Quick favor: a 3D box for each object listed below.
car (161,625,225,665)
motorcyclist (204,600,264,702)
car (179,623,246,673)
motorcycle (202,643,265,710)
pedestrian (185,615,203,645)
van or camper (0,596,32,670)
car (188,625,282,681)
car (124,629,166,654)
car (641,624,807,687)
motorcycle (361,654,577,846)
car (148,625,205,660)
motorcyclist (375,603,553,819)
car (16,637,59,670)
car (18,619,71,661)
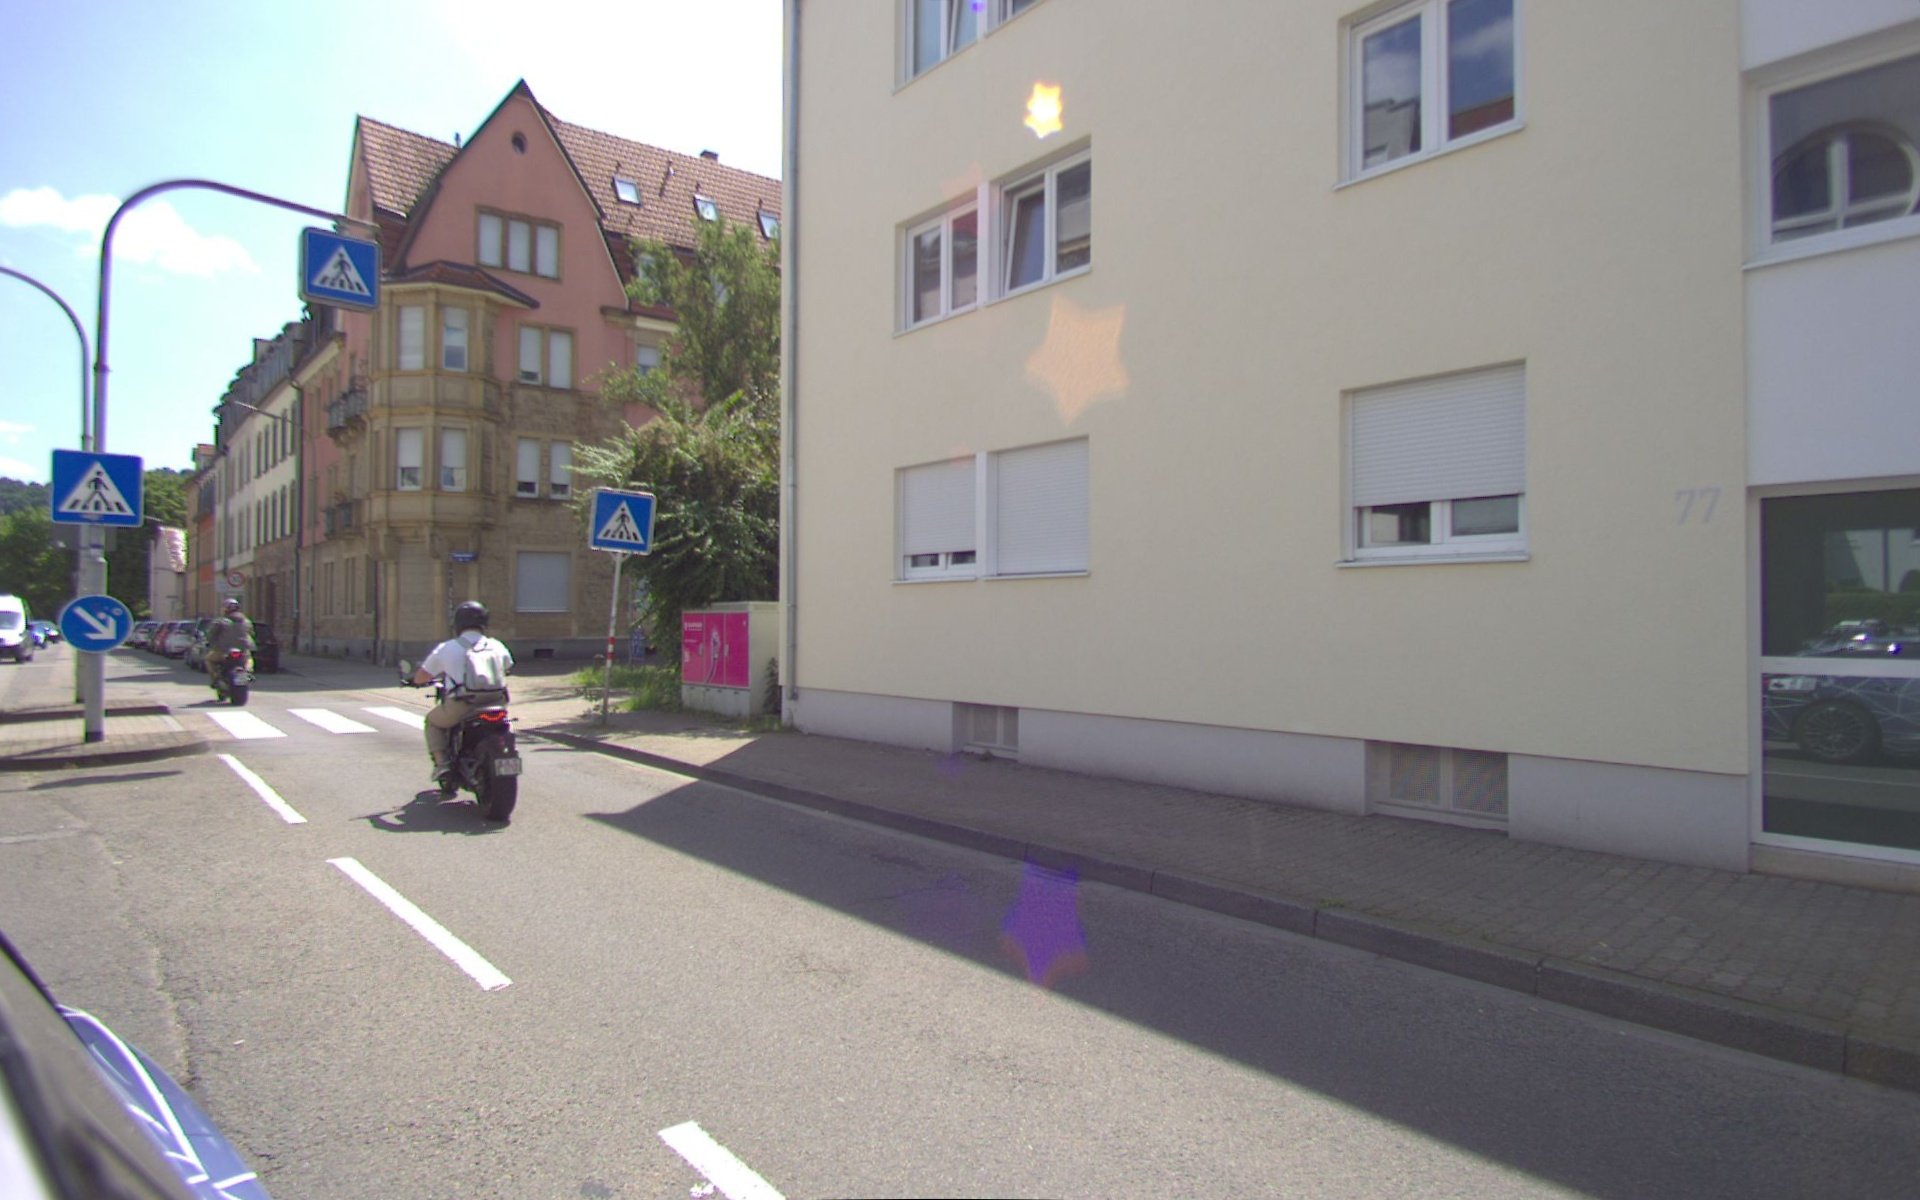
[{"bbox_3d":[-29.830,1.727,39.323,1.614,1.442,4.023,4,-4,-41],"label":"car"},{"bbox_3d":[-12.213,0.845,17.023,0.704,1.647,1.070,3,-3,-39],"label":"motorcyclist"},{"bbox_3d":[-24.038,1.515,32.526,1.419,1.534,2.699,2,-2,-42],"label":"car"},{"bbox_3d":[-12.243,1.257,17.026,0.704,1.036,2.243,3,-3,-39],"label":"motorcycle"},{"bbox_3d":[-45.804,1.773,60.513,0.759,1.784,0.764,0,-1,-43],"label":"pedestrian"},{"bbox_3d":[-32.001,1.103,33.386,1.969,2.305,5.149,2,-3,-43],"label":"van or camper"},{"bbox_3d":[-21.027,1.491,29.274,1.761,1.469,4.641,2,-2,-41],"label":"car"},{"bbox_3d":[-49.676,2.516,61.643,1.689,1.470,3.858,4,-4,-42],"label":"car"},{"bbox_3d":[-6.310,1.439,27.258,3.935,1.514,1.873,0,-2,-38],"label":"car"},{"bbox_3d":[-3.815,1.045,7.757,0.885,1.185,2.210,1,-2,-43],"label":"motorcycle"},{"bbox_3d":[-34.034,1.831,43.943,1.579,1.453,3.498,3,-3,-43],"label":"car"},{"bbox_3d":[-3.820,0.784,7.775,0.905,1.491,1.204,1,-2,-43],"label":"motorcyclist"},{"bbox_3d":[-61.564,3.527,67.612,1.969,2.029,4.006,-1,-1,-41],"label":"car"},{"bbox_3d":[-47.225,2.027,52.182,1.970,2.029,4.004,-1,-1,-43],"label":"car"}]
